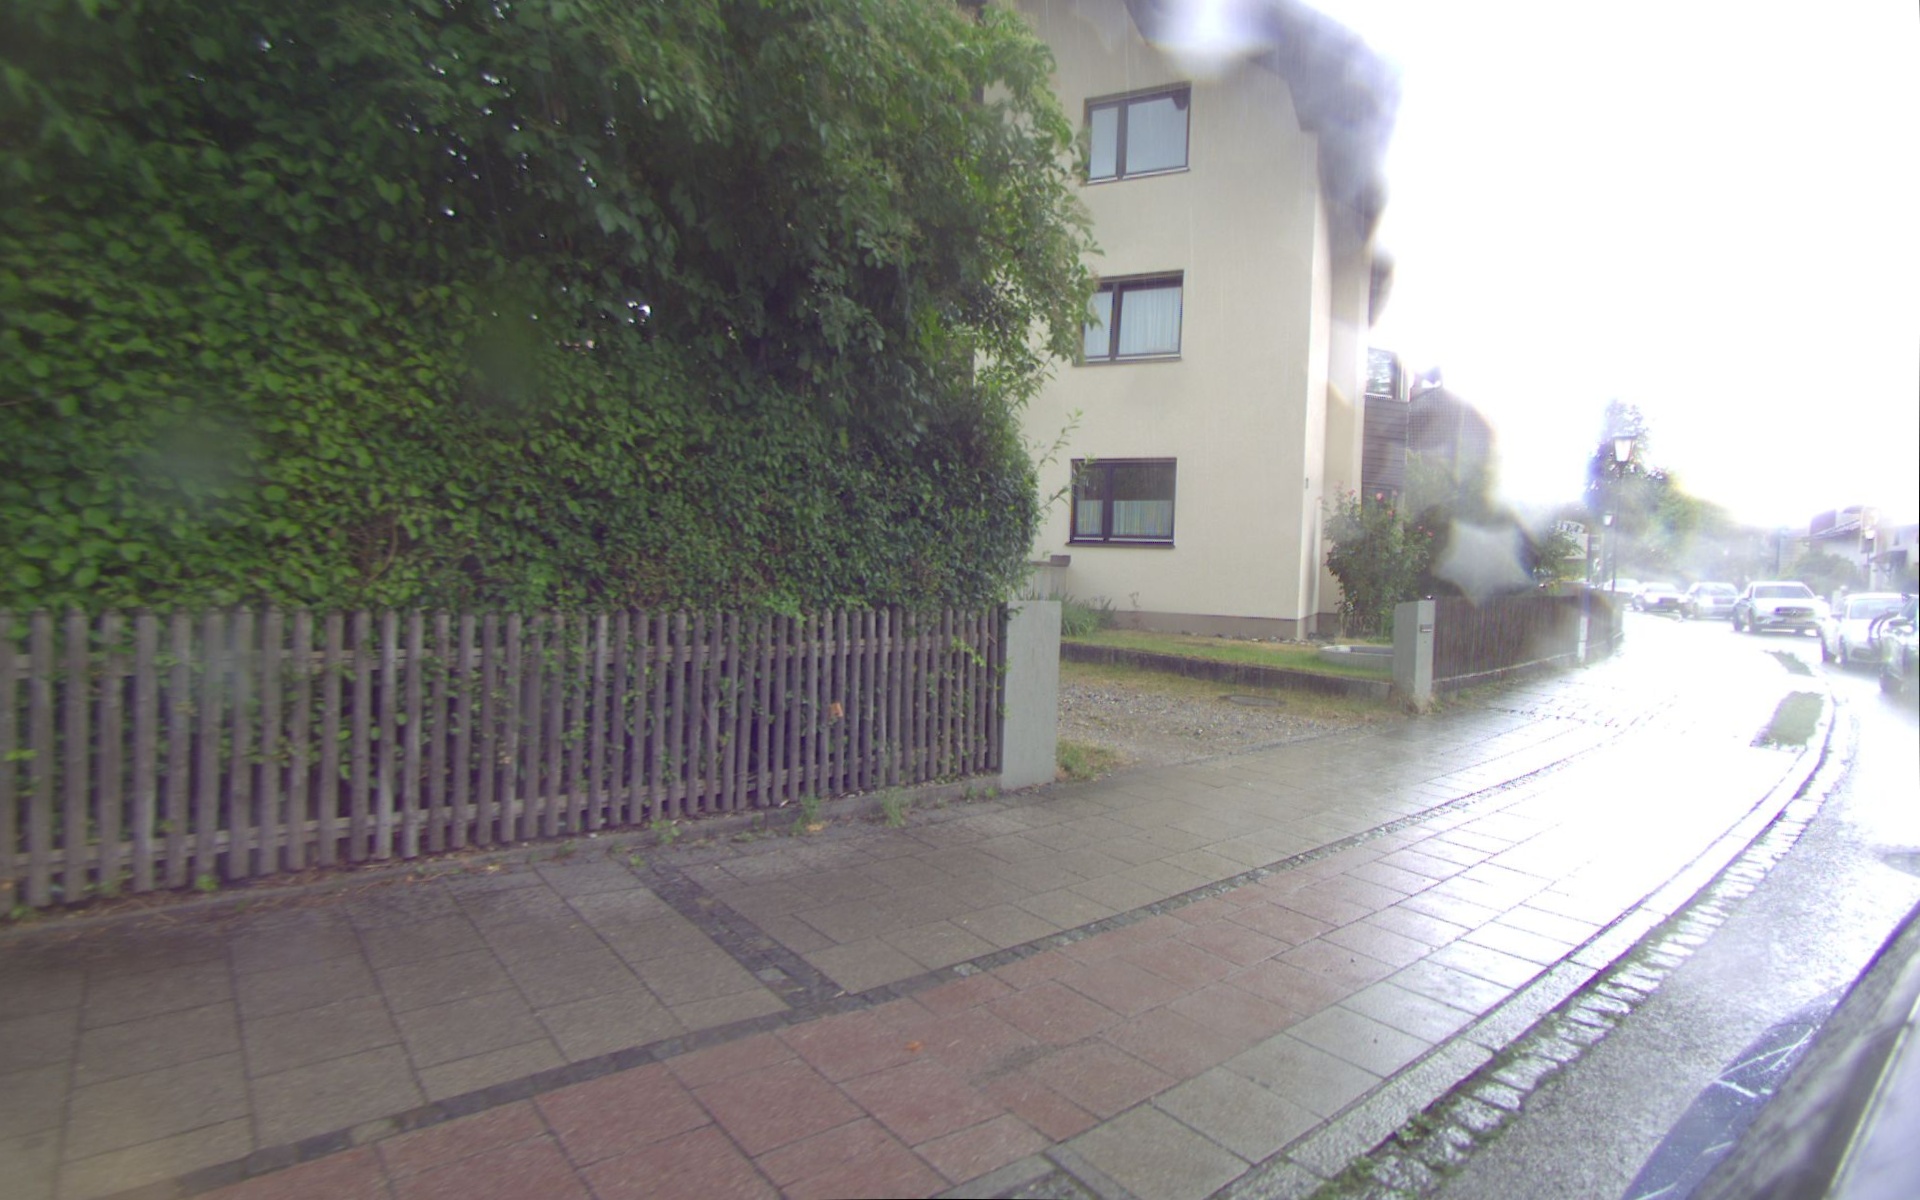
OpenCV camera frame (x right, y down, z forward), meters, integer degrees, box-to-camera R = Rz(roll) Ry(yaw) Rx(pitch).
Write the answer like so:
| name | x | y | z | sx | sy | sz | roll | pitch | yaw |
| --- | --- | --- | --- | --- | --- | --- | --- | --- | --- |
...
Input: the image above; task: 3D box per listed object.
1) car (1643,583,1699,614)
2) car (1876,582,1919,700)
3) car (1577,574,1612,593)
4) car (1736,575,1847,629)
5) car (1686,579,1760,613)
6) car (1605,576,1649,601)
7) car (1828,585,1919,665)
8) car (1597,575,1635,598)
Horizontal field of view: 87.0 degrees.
| name | x | y | z | sx | sy | sz | roll | pitch | yaw |
| --- | --- | --- | --- | --- | --- | --- | --- | --- | --- |
| car | 37.469 | -0.091 | 53.440 | 1.777 | 1.568 | 4.242 | 0 | 1 | 27 |
| car | 14.298 | 0.493 | 14.150 | 1.785 | 1.498 | 5.312 | 0 | 1 | 38 |
| car | 53.097 | -1.345 | 84.760 | 1.775 | 1.568 | 4.248 | 0 | 1 | 23 |
| car | 26.049 | 0.041 | 31.872 | 1.777 | 1.568 | 4.242 | 0 | 1 | 27 |
| car | 33.050 | -0.188 | 43.943 | 1.777 | 1.391 | 4.242 | 0 | 1 | 27 |
| car | 42.414 | -0.740 | 64.430 | 1.777 | 1.568 | 4.242 | 0 | 1 | 27 |
| car | 18.206 | 0.414 | 19.685 | 1.785 | 1.412 | 4.223 | 0 | 1 | 38 |
| car | 47.549 | -0.972 | 73.408 | 1.777 | 1.568 | 4.242 | 0 | 1 | 27 |
